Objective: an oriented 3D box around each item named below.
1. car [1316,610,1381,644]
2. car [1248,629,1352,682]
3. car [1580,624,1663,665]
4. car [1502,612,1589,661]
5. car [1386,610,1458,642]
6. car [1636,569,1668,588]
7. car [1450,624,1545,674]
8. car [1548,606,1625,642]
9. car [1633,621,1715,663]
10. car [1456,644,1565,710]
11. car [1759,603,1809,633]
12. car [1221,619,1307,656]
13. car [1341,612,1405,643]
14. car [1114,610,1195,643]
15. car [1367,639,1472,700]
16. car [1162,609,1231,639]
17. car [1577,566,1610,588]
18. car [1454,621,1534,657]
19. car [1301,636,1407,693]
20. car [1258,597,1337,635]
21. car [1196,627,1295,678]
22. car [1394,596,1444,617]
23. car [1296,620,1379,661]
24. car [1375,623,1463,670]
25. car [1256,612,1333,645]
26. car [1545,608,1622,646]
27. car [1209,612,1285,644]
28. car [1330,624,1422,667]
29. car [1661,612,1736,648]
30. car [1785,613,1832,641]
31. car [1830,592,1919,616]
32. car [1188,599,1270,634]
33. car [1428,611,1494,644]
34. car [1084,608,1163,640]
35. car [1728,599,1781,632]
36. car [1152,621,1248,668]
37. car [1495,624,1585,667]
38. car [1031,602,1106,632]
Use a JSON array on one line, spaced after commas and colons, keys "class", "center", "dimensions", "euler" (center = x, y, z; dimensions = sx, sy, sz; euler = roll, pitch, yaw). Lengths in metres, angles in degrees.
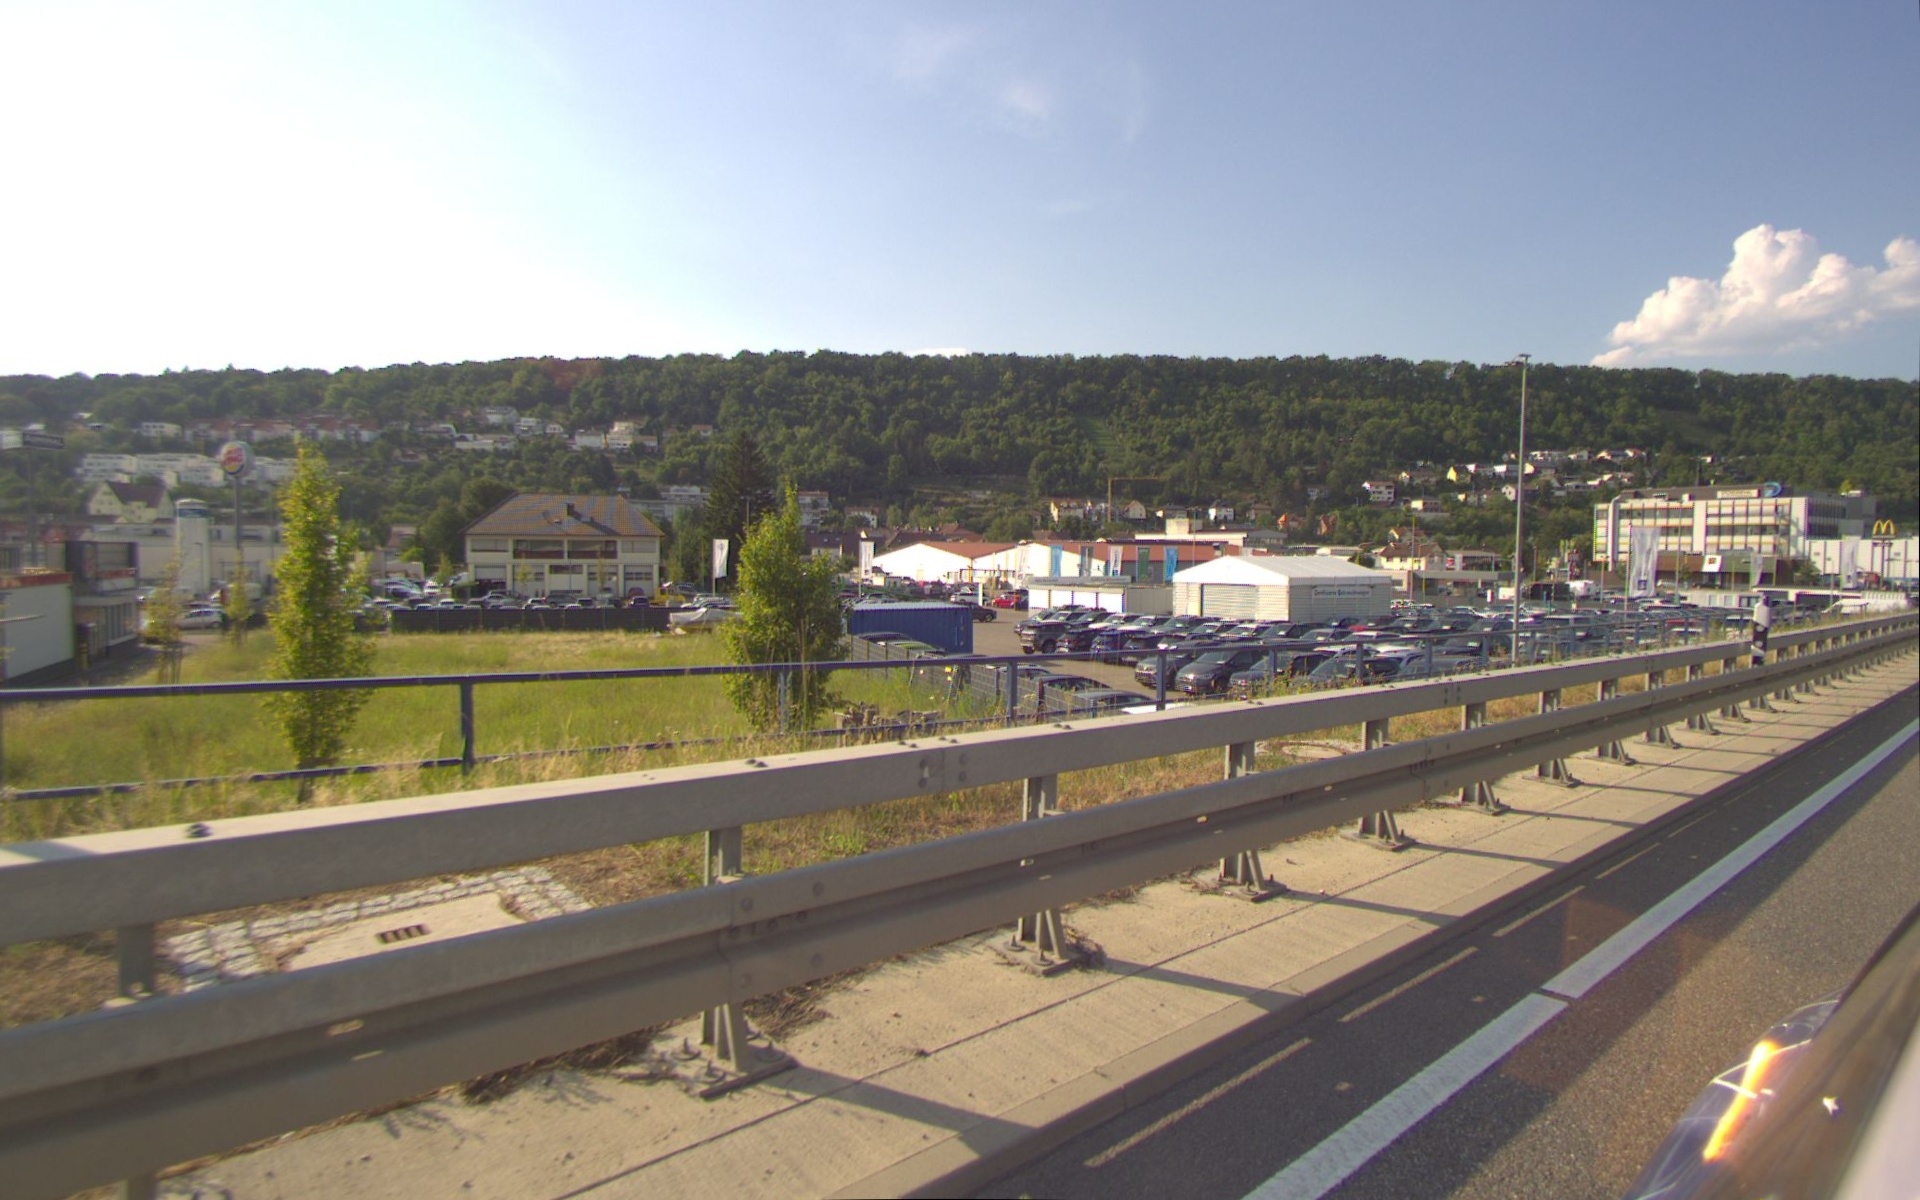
[{"class": "car", "center": [24.622, 1.688, 64.128], "dimensions": [3.924, 1.701, 1.785], "euler": [-1, 11, -35]}, {"class": "car", "center": [12.820, 2.035, 38.091], "dimensions": [3.926, 1.705, 1.780], "euler": [-2, 1, -37]}, {"class": "car", "center": [31.490, 2.059, 48.154], "dimensions": [4.643, 1.656, 1.885], "euler": [-2, 1, -38]}, {"class": "car", "center": [23.071, 1.385, 39.833], "dimensions": [3.931, 1.705, 1.778], "euler": [-2, 1, -41]}, {"class": "car", "center": [27.698, 1.537, 60.677], "dimensions": [4.641, 1.656, 1.885], "euler": [-2, 1, -36]}, {"class": "car", "center": [84.728, -2.638, 123.868], "dimensions": [5.201, 2.274, 1.759], "euler": [-2, 1, -38]}, {"class": "car", "center": [22.083, 1.954, 41.500], "dimensions": [4.649, 1.671, 2.002], "euler": [-2, 1, -42]}, {"class": "car", "center": [32.437, 1.197, 52.369], "dimensions": [4.643, 1.656, 1.884], "euler": [-2, 1, -38]}, {"class": "car", "center": [32.788, 1.880, 46.428], "dimensions": [4.645, 1.646, 1.884], "euler": [-2, 1, -39]}, {"class": "car", "center": [17.618, 2.393, 32.331], "dimensions": [3.930, 1.705, 1.778], "euler": [-2, 1, -40]}, {"class": "car", "center": [50.625, 1.071, 62.178], "dimensions": [4.238, 1.646, 1.740], "euler": [-2, 1, -42]}, {"class": "car", "center": [15.679, 1.896, 52.129], "dimensions": [4.643, 1.656, 1.885], "euler": [-2, 1, -38]}, {"class": "car", "center": [25.335, 1.666, 62.003], "dimensions": [3.924, 1.705, 1.781], "euler": [-1, 1, -35]}, {"class": "car", "center": [11.140, 1.473, 57.833], "dimensions": [4.642, 1.656, 1.885], "euler": [-2, 1, -36]}, {"class": "car", "center": [15.651, 2.313, 34.412], "dimensions": [3.930, 1.705, 1.778], "euler": [-2, 1, -40]}, {"class": "car", "center": [15.156, 1.506, 64.775], "dimensions": [4.488, 1.656, 1.885], "euler": [-2, 1, -36]}, {"class": "car", "center": [78.090, -2.821, 124.791], "dimensions": [5.370, 2.581, 1.759], "euler": [-2, 1, -38]}, {"class": "car", "center": [28.437, 2.040, 53.865], "dimensions": [4.641, 1.656, 1.885], "euler": [-2, 1, -36]}, {"class": "car", "center": [14.198, 2.277, 36.384], "dimensions": [3.927, 1.705, 1.779], "euler": [-2, 1, -38]}, {"class": "car", "center": [16.686, 0.775, 49.948], "dimensions": [3.925, 1.705, 1.780], "euler": [-1, 1, -36]}, {"class": "car", "center": [11.408, 2.049, 40.338], "dimensions": [3.926, 1.705, 1.780], "euler": [-2, 1, -37]}, {"class": "car", "center": [44.306, 0.619, 97.781], "dimensions": [1.889, 1.883, 4.001], "euler": [-1, 1, -33]}, {"class": "car", "center": [17.924, 1.884, 47.959], "dimensions": [3.924, 1.705, 1.781], "euler": [-1, 1, -35]}, {"class": "car", "center": [19.928, 1.973, 43.857], "dimensions": [4.588, 1.737, 1.837], "euler": [-2, 1, -42]}, {"class": "car", "center": [19.515, 1.610, 58.971], "dimensions": [4.641, 1.656, 1.886], "euler": [-2, 2, -36]}, {"class": "car", "center": [35.630, 1.490, 57.807], "dimensions": [4.636, 1.955, 1.887], "euler": [-1, 1, -31]}, {"class": "car", "center": [17.075, 1.638, 60.174], "dimensions": [4.641, 1.656, 1.885], "euler": [-2, 1, -36]}, {"class": "car", "center": [18.885, 2.023, 45.845], "dimensions": [4.646, 1.656, 1.884], "euler": [-2, 1, -40]}, {"class": "car", "center": [39.229, 1.546, 53.740], "dimensions": [4.641, 1.646, 1.885], "euler": [-2, 1, -36]}, {"class": "car", "center": [56.212, 1.756, 67.034], "dimensions": [4.236, 1.646, 1.740], "euler": [-2, 1, -41]}, {"class": "car", "center": [79.272, 0.319, 87.481], "dimensions": [1.964, 2.039, 5.896], "euler": [-1, 1, -38]}, {"class": "car", "center": [14.552, 0.851, 54.575], "dimensions": [4.645, 1.656, 1.884], "euler": [-2, 1, -39]}, {"class": "car", "center": [29.039, 1.550, 58.597], "dimensions": [3.924, 1.705, 1.781], "euler": [-1, 1, -35]}, {"class": "car", "center": [9.681, 1.378, 59.735], "dimensions": [4.642, 1.656, 1.885], "euler": [-2, 1, -36]}, {"class": "car", "center": [44.297, 0.850, 56.381], "dimensions": [1.880, 1.646, 4.655], "euler": [0, 1, 44]}, {"class": "car", "center": [10.047, 1.808, 42.245], "dimensions": [3.926, 1.705, 1.780], "euler": [-2, 1, -37]}, {"class": "car", "center": [26.428, 2.015, 46.055], "dimensions": [4.642, 1.656, 1.885], "euler": [-2, 1, -37]}, {"class": "car", "center": [6.862, 1.033, 63.611], "dimensions": [4.642, 1.656, 1.885], "euler": [-2, 1, -36]}]
